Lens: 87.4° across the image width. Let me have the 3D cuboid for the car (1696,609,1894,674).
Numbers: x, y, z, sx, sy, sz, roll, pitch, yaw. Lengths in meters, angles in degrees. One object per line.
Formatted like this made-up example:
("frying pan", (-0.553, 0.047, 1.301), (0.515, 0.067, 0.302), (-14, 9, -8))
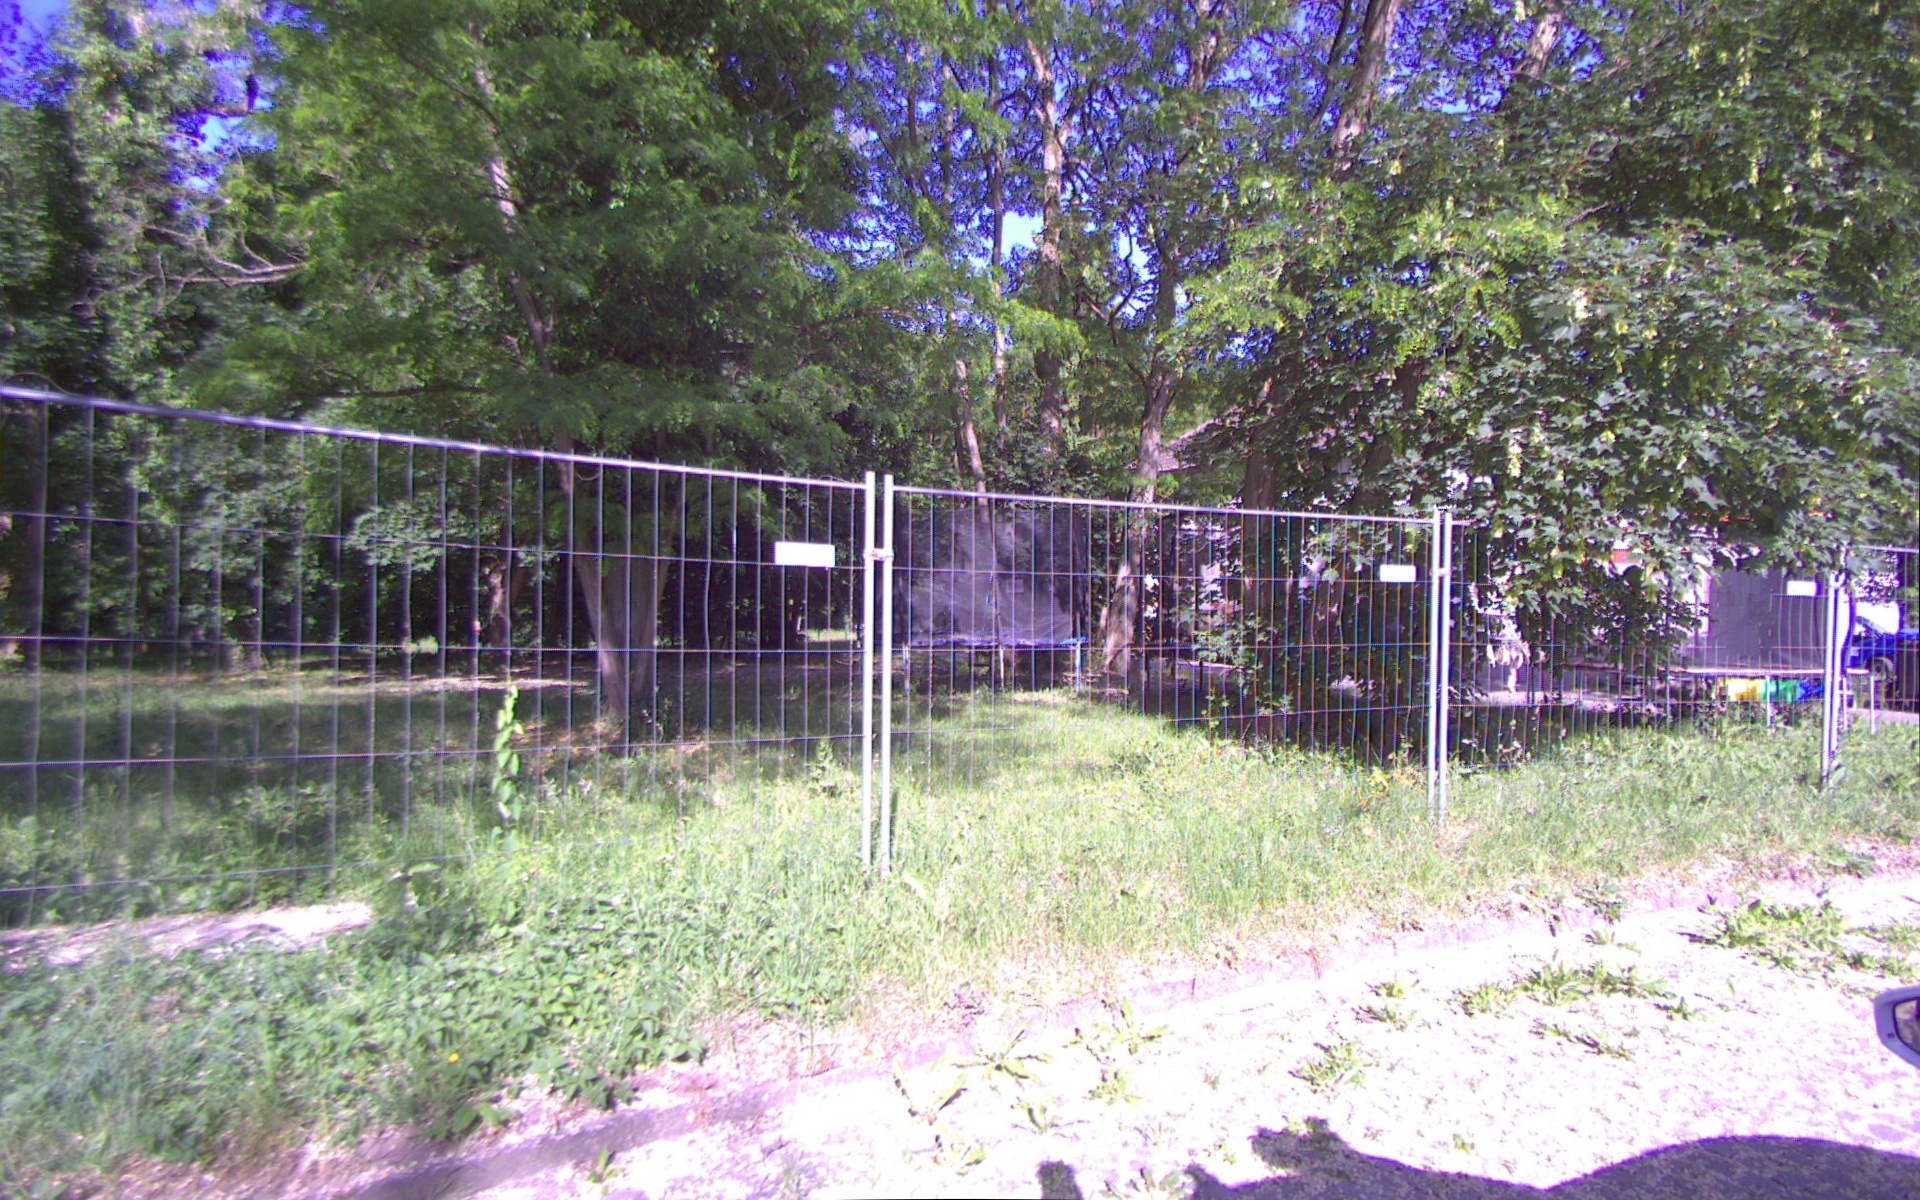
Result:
("car", (26.688, 1.323, 32.234), (1.985, 1.927, 4.668), (2, -3, -42))
